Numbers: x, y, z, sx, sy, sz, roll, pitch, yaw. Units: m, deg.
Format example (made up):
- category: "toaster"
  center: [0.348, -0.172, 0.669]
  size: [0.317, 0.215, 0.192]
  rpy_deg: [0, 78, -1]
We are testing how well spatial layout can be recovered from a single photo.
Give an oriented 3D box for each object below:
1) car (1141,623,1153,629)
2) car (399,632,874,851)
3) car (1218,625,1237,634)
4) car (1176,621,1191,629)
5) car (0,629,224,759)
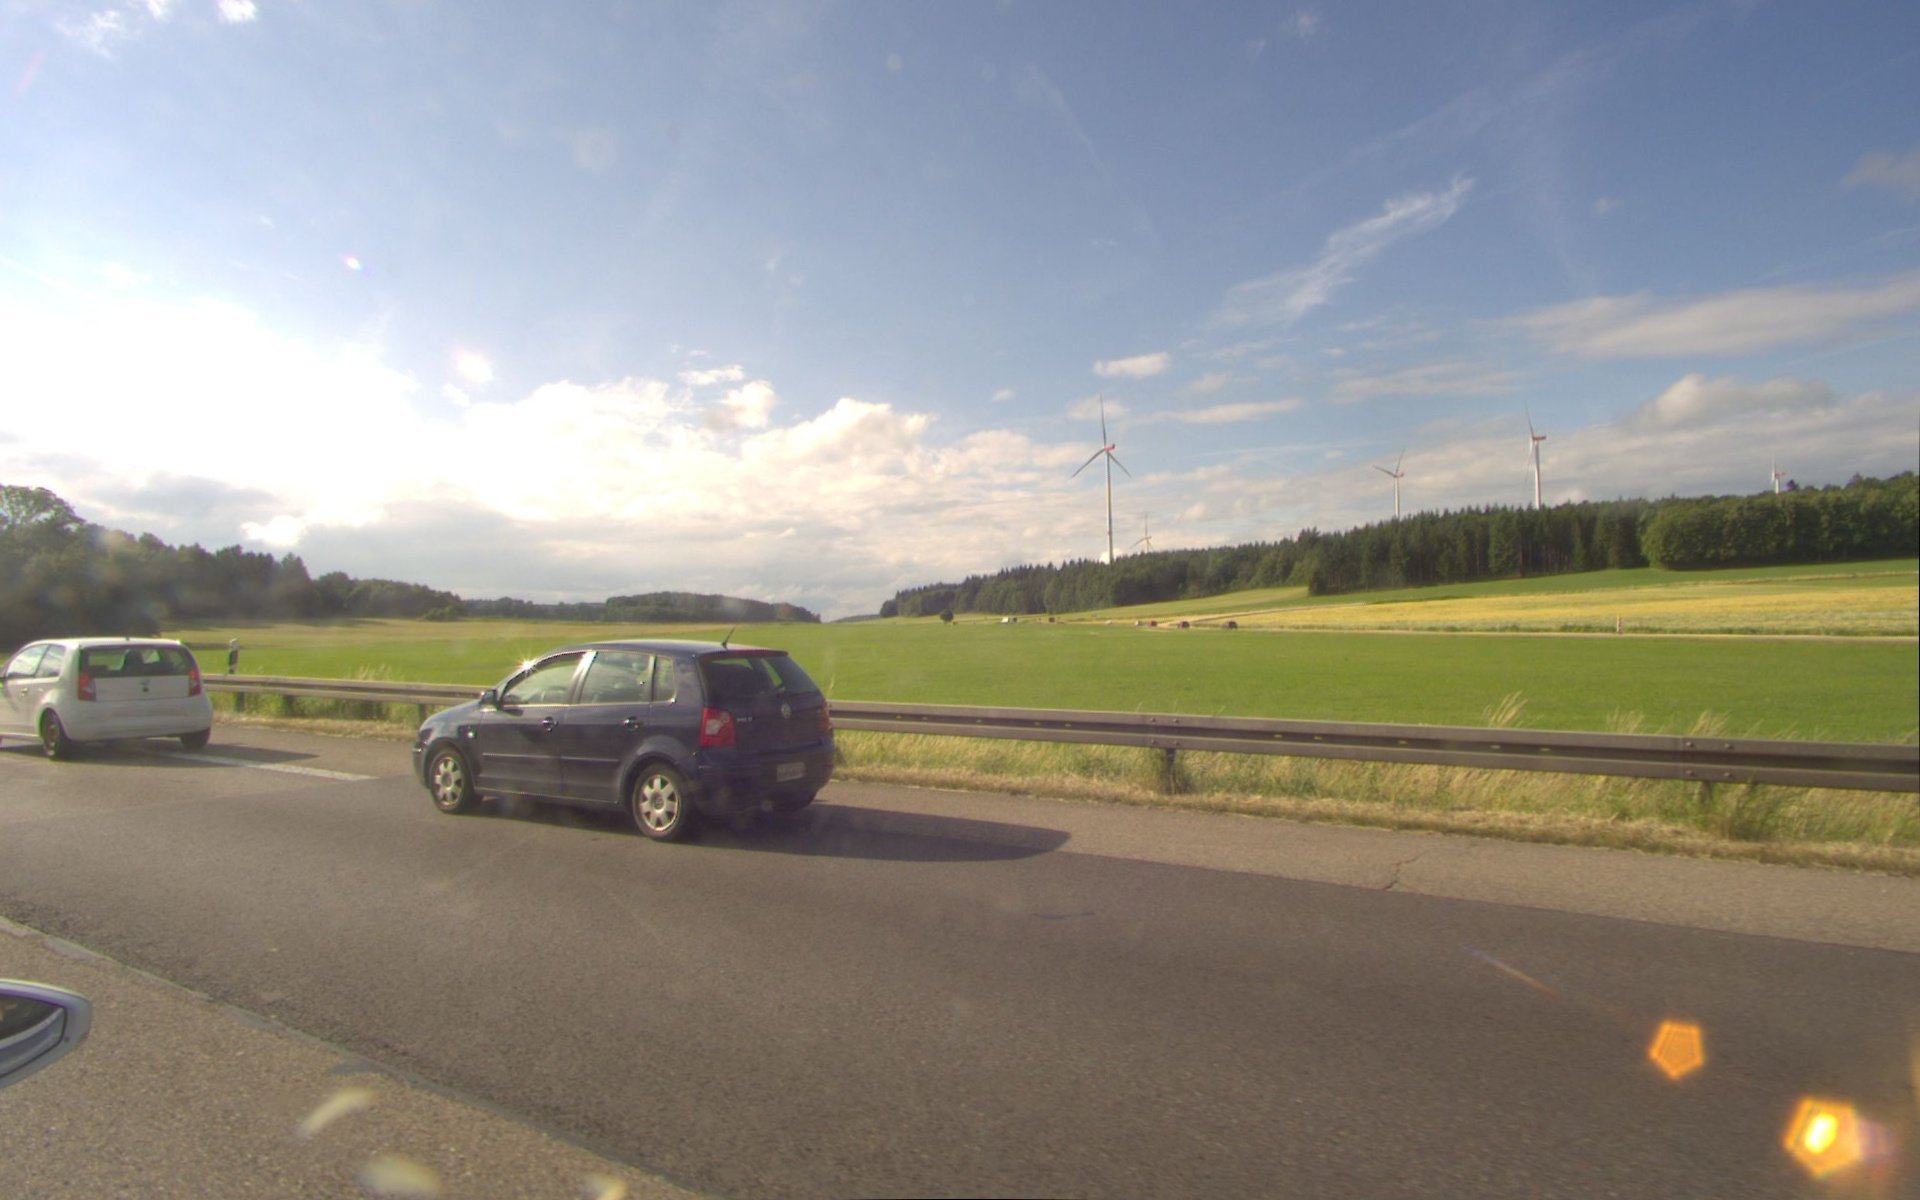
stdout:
- category: "car"
  center: [46.725, 6.455, 250.161]
  size: [1.803, 1.505, 4.221]
  rpy_deg: [0, -2, -6]
- category: "car"
  center: [-2.737, 1.024, 8.360]
  size: [3.717, 1.464, 1.709]
  rpy_deg: [-2, -2, 29]
- category: "car"
  center: [46.388, 5.177, 173.631]
  size: [1.803, 1.505, 4.221]
  rpy_deg: [0, -2, -6]
- category: "car"
  center: [45.729, 5.142, 204.770]
  size: [1.803, 1.505, 4.221]
  rpy_deg: [0, -2, -6]
- category: "car"
  center: [-11.490, 1.158, 13.301]
  size: [3.327, 1.514, 1.547]
  rpy_deg: [-1, -2, 30]
